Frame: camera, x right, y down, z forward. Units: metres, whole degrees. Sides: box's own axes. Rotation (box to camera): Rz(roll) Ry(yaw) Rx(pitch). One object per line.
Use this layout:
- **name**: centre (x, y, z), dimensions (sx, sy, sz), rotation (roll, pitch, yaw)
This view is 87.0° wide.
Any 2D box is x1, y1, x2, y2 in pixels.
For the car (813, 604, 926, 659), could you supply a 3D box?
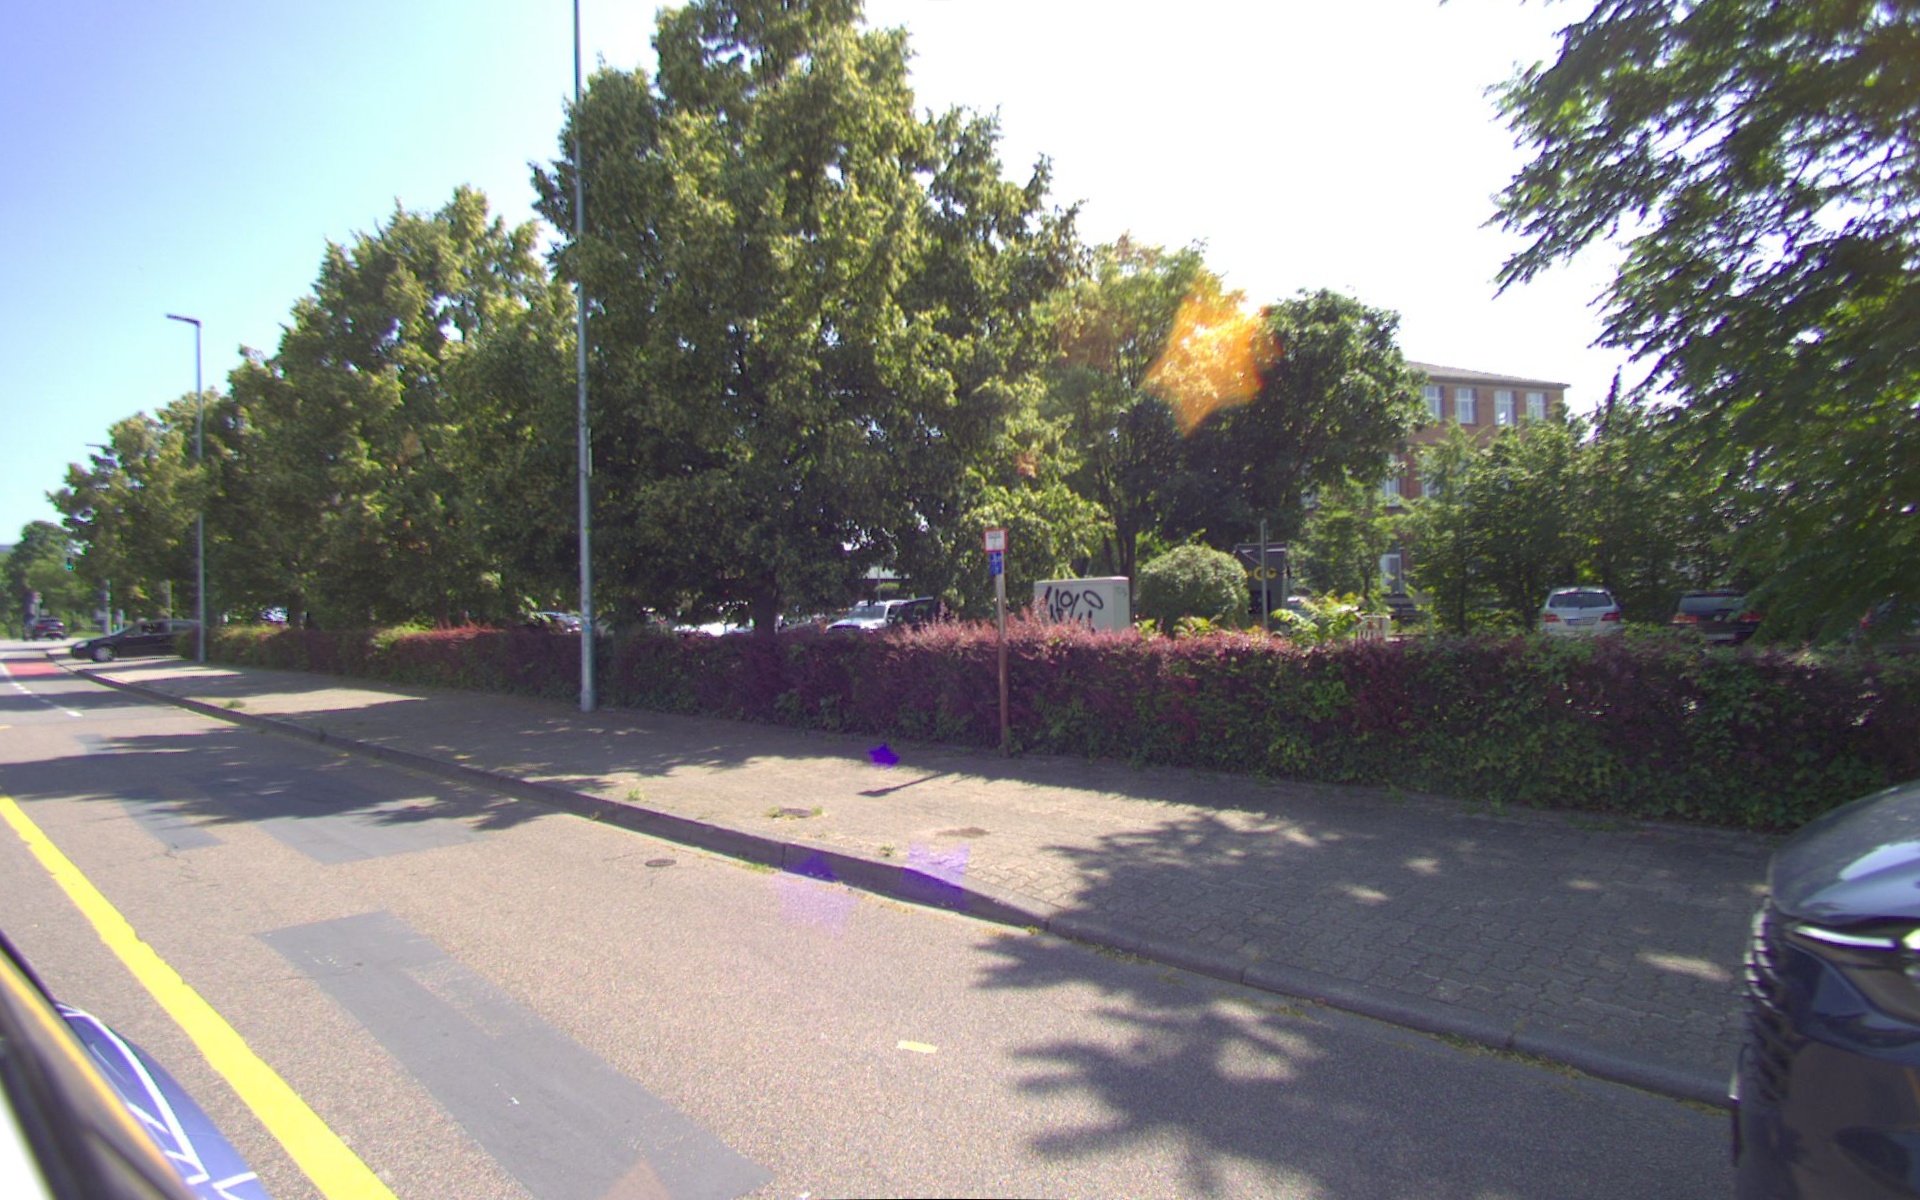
- **car**: centre (-2.929, 0.990, 33.792), dimensions (1.851, 1.698, 4.331), rotation (-1, -1, 25)

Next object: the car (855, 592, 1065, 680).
- **car**: centre (-0.072, 0.764, 21.750), dimensions (4.364, 1.699, 1.837), rotation (-2, -3, 40)

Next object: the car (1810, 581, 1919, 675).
- **car**: centre (17.024, 0.453, 18.418), dimensions (1.698, 1.464, 3.958), rotation (-3, 0, 31)

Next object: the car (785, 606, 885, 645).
- **car**: centre (-5.838, 1.189, 47.264), dimensions (4.347, 1.698, 1.845), rotation (-1, 2, 29)

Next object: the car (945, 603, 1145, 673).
- **car**: centre (1.892, 0.855, 23.330), dimensions (4.364, 1.464, 1.837), rotation (-2, -3, 40)

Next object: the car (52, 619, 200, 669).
- **car**: centre (-29.862, 1.525, 36.311), dimensions (3.940, 1.475, 1.882), rotation (-4, 2, -43)

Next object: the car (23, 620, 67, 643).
- **car**: centre (-67.608, 2.328, 74.860), dimensions (1.967, 1.657, 4.538), rotation (1, -1, -36)

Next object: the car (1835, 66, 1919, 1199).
- **car**: centre (3.804, 0.396, 0.193), dimensions (5.441, 1.983, 2.154), rotation (-1, -3, 41)

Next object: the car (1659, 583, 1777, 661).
- **car**: centre (16.779, 0.445, 22.564), dimensions (1.769, 1.481, 3.956), rotation (-3, 0, 33)

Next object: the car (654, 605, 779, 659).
- **car**: centre (-8.201, 1.046, 34.438), dimensions (1.852, 1.698, 4.275), rotation (-1, -1, 26)

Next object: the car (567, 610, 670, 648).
- **car**: centre (-14.914, 1.252, 44.186), dimensions (4.121, 1.564, 1.904), rotation (-1, 0, 27)

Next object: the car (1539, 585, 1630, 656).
- **car**: centre (15.615, 0.461, 25.363), dimensions (1.768, 1.584, 3.957), rotation (-2, 0, 31)
